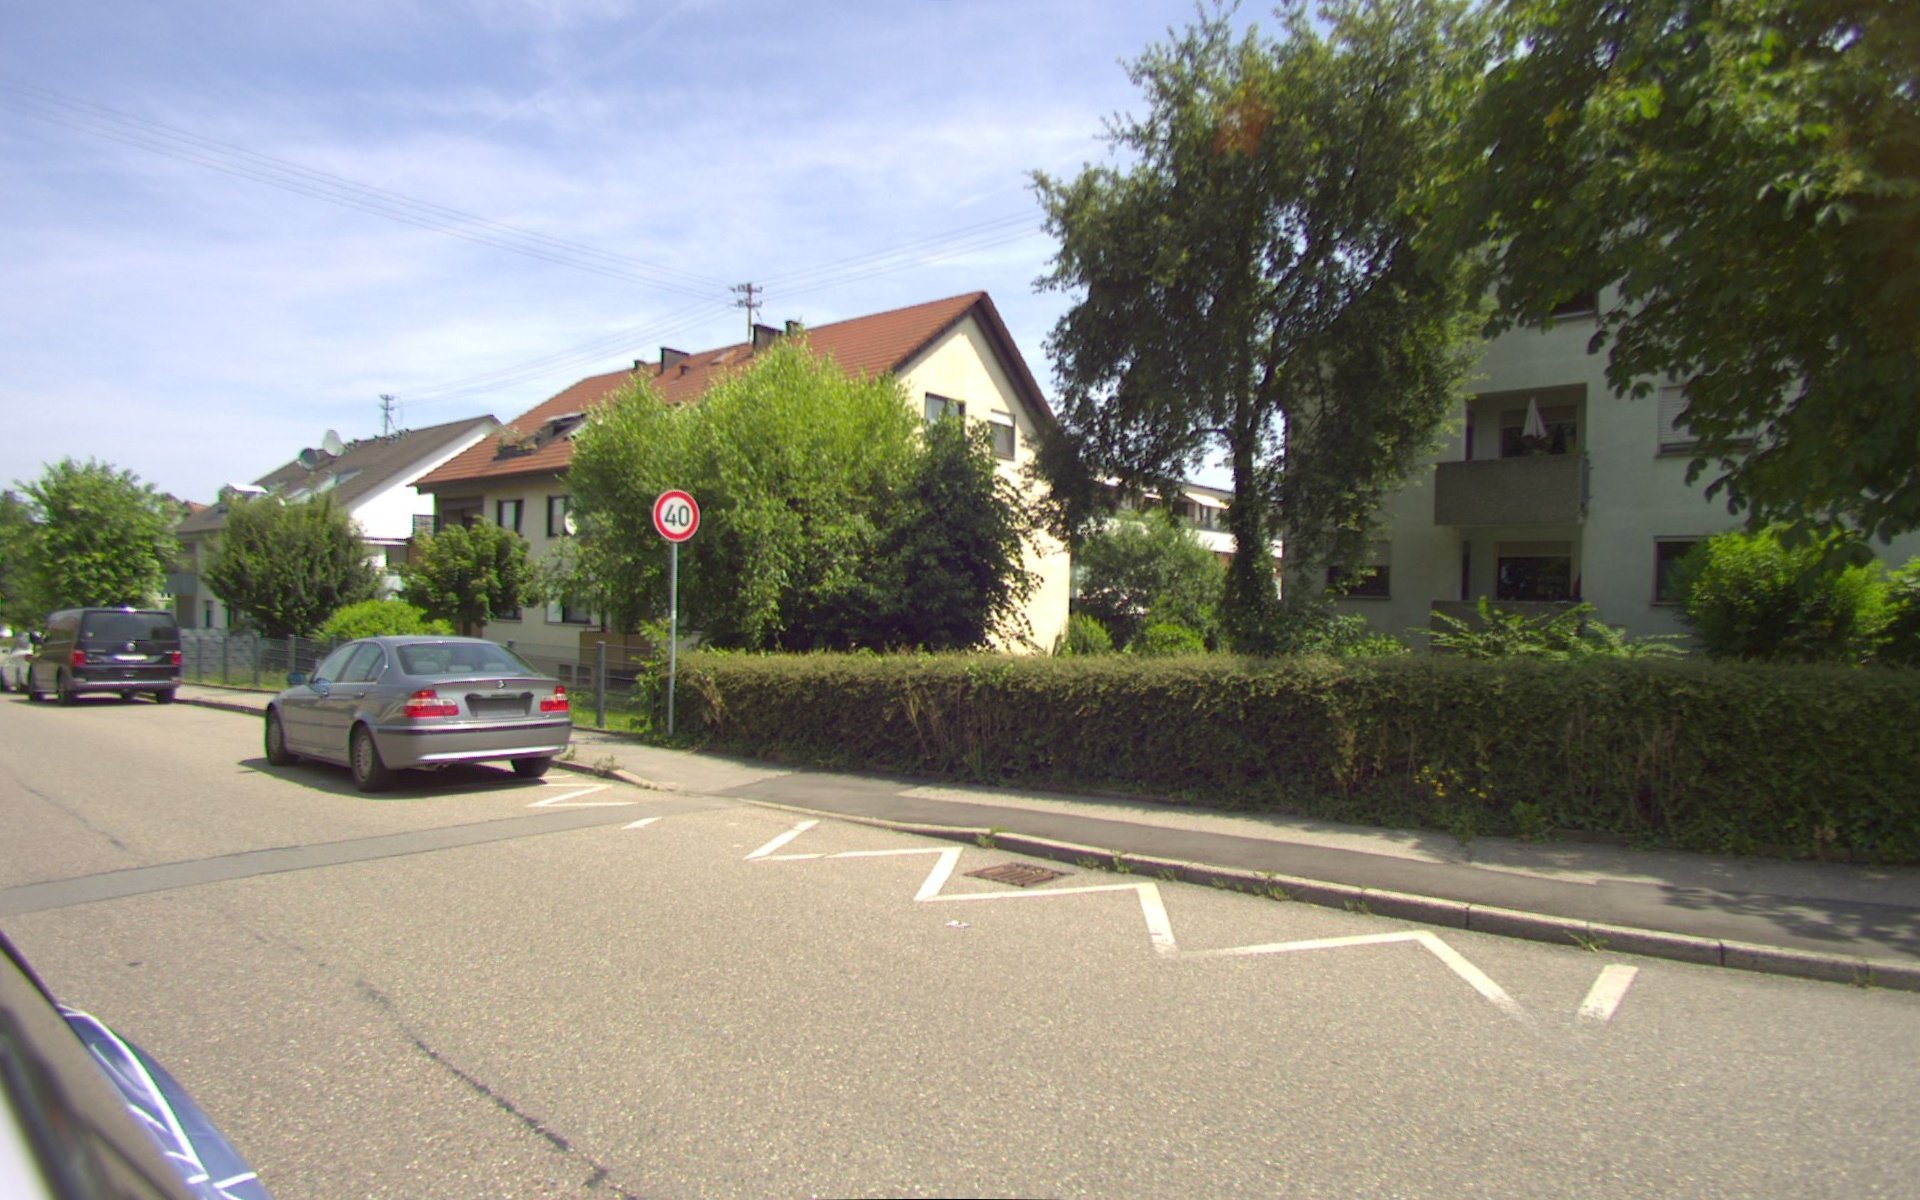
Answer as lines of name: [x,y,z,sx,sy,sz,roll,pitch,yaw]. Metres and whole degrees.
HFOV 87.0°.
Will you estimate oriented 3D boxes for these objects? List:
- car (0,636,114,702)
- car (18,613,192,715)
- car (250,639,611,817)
car: [-23.775,1.764,26.427,4.238,1.561,1.793,-3,-3,39]
car: [-18.278,1.347,21.550,4.864,1.935,1.878,-3,-4,39]
car: [-5.514,1.117,10.284,4.407,1.405,1.761,-1,-3,41]
